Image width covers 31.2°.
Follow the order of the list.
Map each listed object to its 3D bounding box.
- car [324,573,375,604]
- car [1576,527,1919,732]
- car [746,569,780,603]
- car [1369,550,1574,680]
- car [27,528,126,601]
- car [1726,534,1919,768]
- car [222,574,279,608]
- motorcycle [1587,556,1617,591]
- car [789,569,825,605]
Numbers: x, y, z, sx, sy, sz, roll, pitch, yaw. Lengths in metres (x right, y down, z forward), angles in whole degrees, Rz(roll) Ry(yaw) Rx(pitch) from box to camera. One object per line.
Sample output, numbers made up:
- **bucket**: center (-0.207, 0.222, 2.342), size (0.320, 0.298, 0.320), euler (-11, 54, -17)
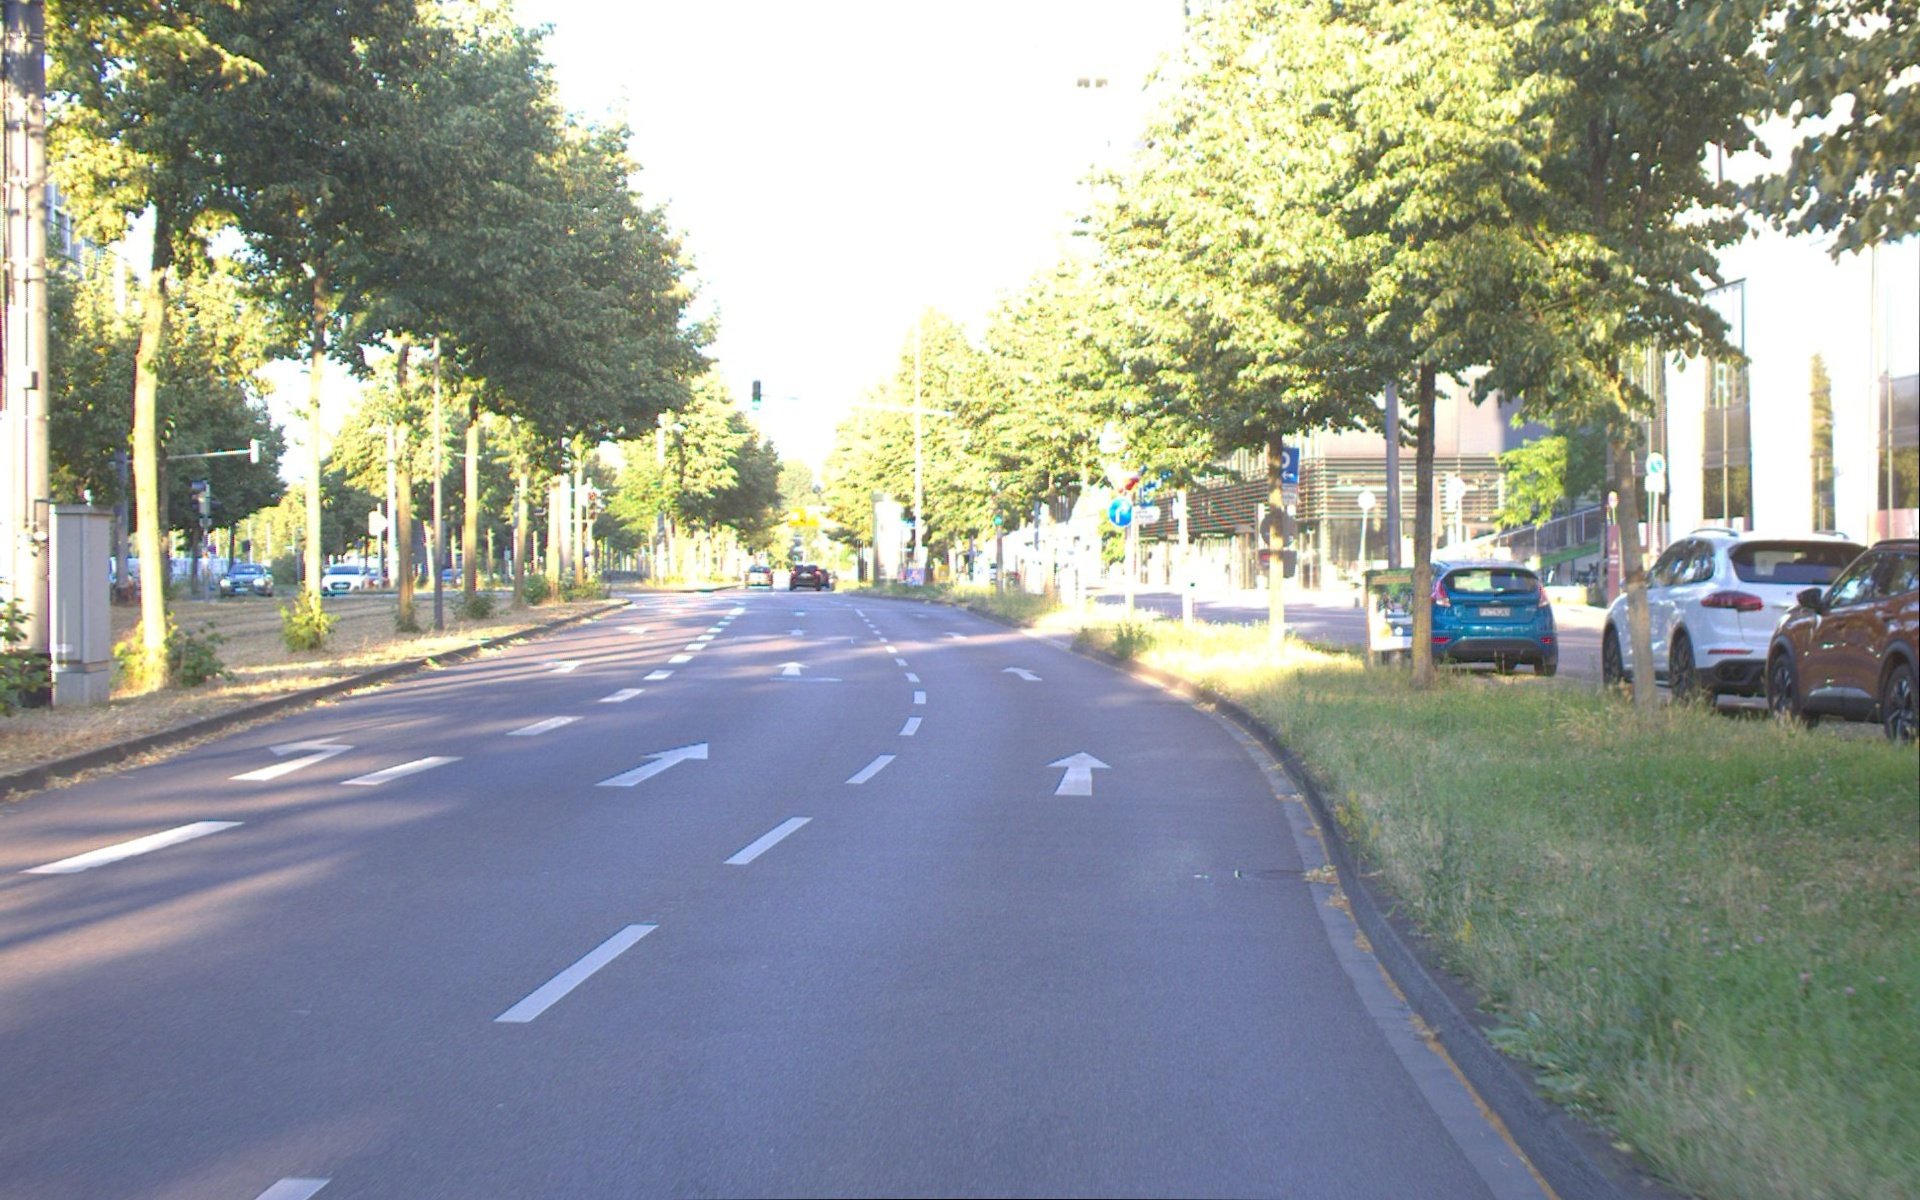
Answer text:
- **car**: center (-26.375, -0.514, 148.681), size (1.786, 1.327, 3.672), euler (0, 1, -4)
- **car**: center (7.237, 0.228, 31.966), size (1.951, 1.708, 5.159), euler (1, 1, -1)
- **car**: center (-12.132, -0.882, 211.799), size (2.087, 2.007, 4.001), euler (0, 1, -3)
- **car**: center (6.400, 0.161, 43.450), size (1.724, 1.524, 4.269), euler (1, 1, -3)
- **car**: center (-25.169, -1.016, 98.058), size (1.993, 2.007, 4.001), euler (-1, 1, -3)
- **car**: center (7.041, 0.325, 24.691), size (1.854, 1.524, 4.483), euler (1, 1, -3)
- **car**: center (-28.822, -0.364, 139.747), size (1.656, 1.327, 4.585), euler (0, 1, -4)
- **motorcycle**: center (20.200, -0.836, 108.180), size (0.650, 1.090, 2.332), euler (0, 1, 3)
- **car**: center (-8.724, -0.740, 195.626), size (1.993, 2.007, 4.001), euler (0, 1, -3)
